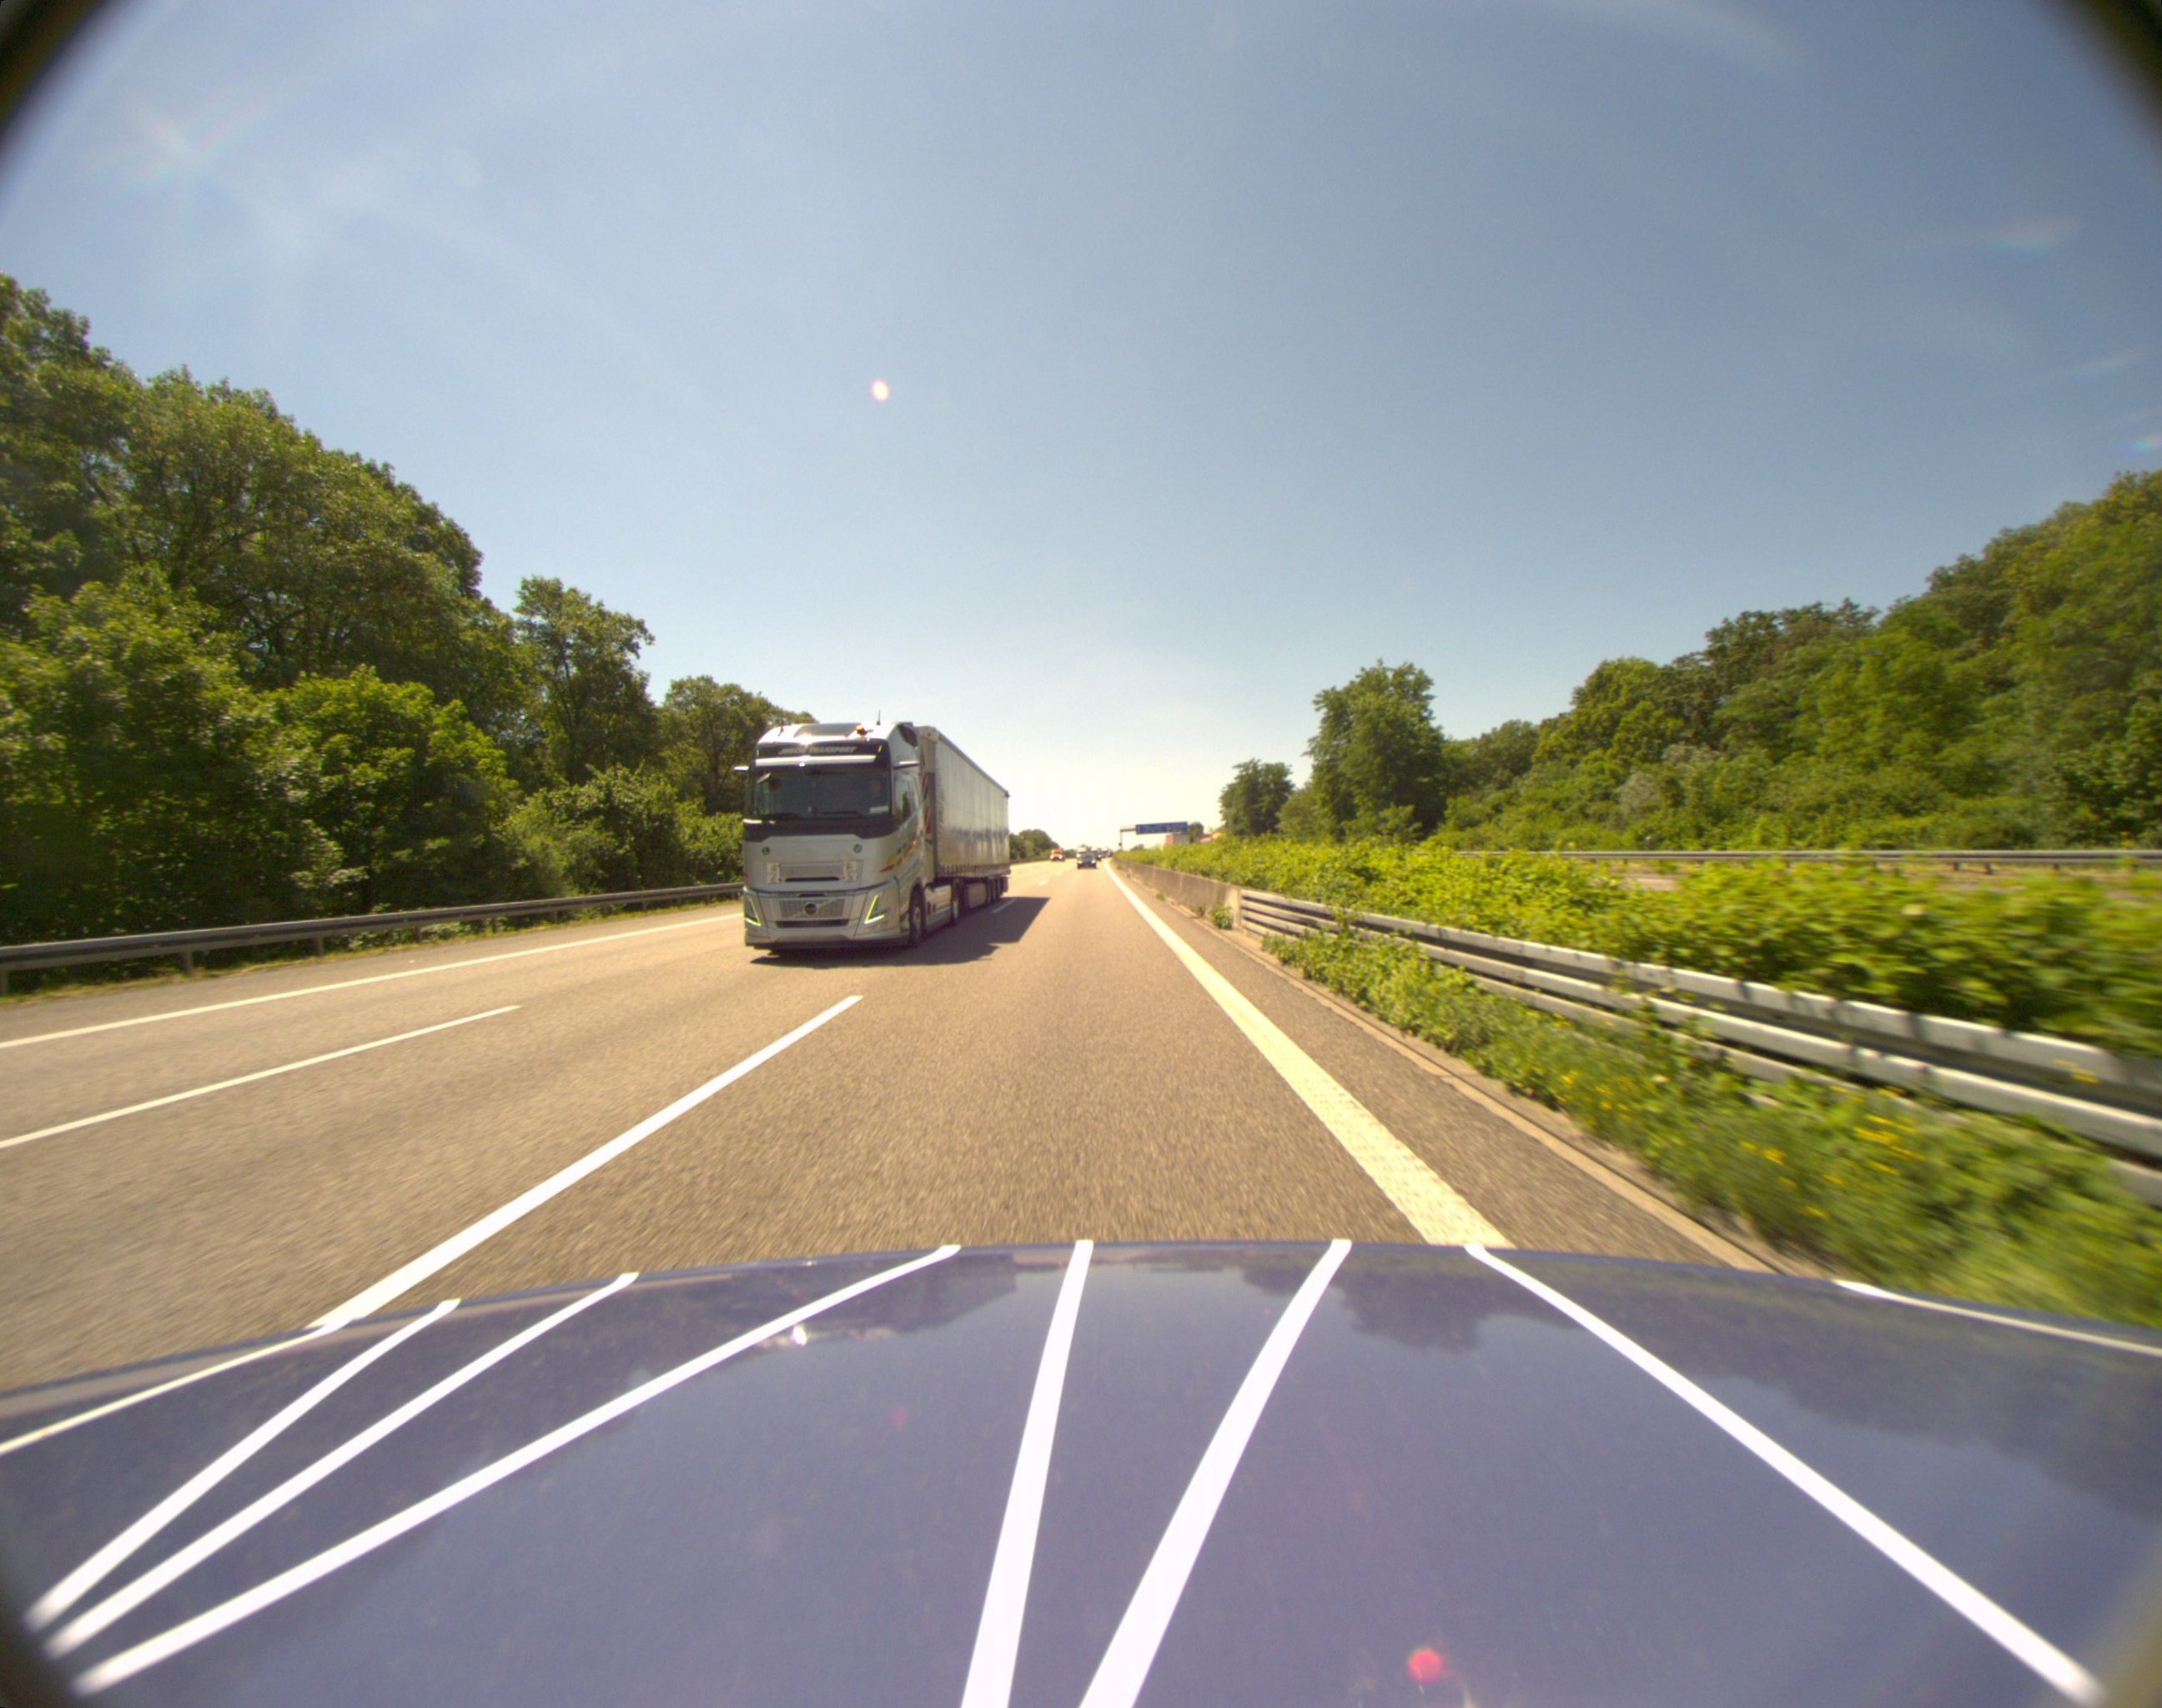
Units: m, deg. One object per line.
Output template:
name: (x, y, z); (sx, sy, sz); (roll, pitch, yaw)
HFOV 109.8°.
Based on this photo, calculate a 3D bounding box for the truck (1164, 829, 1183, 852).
truck: (15.530, -2.241, 127.853); (2.471, 3.766, 5.728); (-2, 1, 0)

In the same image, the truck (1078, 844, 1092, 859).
truck: (0.998, -0.575, 171.344); (2.859, 3.163, 10.712); (-2, 0, 1)

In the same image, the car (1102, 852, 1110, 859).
car: (6.745, 0.425, 203.829); (1.879, 1.630, 4.000); (-2, 0, 0)

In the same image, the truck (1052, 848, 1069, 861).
truck: (-3.932, 0.050, 147.733); (2.436, 2.426, 10.011); (-2, 0, 4)

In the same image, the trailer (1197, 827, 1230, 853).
trailer: (19.227, -1.990, 111.086); (2.377, 3.575, 14.220); (-2, 0, 1)

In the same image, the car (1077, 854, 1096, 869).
car: (0.516, 0.724, 75.401); (1.800, 1.390, 4.833); (-2, 0, 0)

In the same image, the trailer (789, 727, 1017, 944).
trailer: (-3.885, -0.394, 20.995); (2.747, 3.952, 13.653); (-2, 0, 1)

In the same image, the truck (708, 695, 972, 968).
truck: (-4.029, -0.343, 14.515); (2.729, 3.952, 6.501); (-2, 1, 1)

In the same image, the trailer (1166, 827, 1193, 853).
trailer: (15.461, -2.149, 120.257); (2.471, 3.913, 14.399); (-2, 0, 1)

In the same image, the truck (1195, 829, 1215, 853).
truck: (19.343, -2.043, 118.323); (2.363, 3.581, 4.163); (-2, 1, 1)
